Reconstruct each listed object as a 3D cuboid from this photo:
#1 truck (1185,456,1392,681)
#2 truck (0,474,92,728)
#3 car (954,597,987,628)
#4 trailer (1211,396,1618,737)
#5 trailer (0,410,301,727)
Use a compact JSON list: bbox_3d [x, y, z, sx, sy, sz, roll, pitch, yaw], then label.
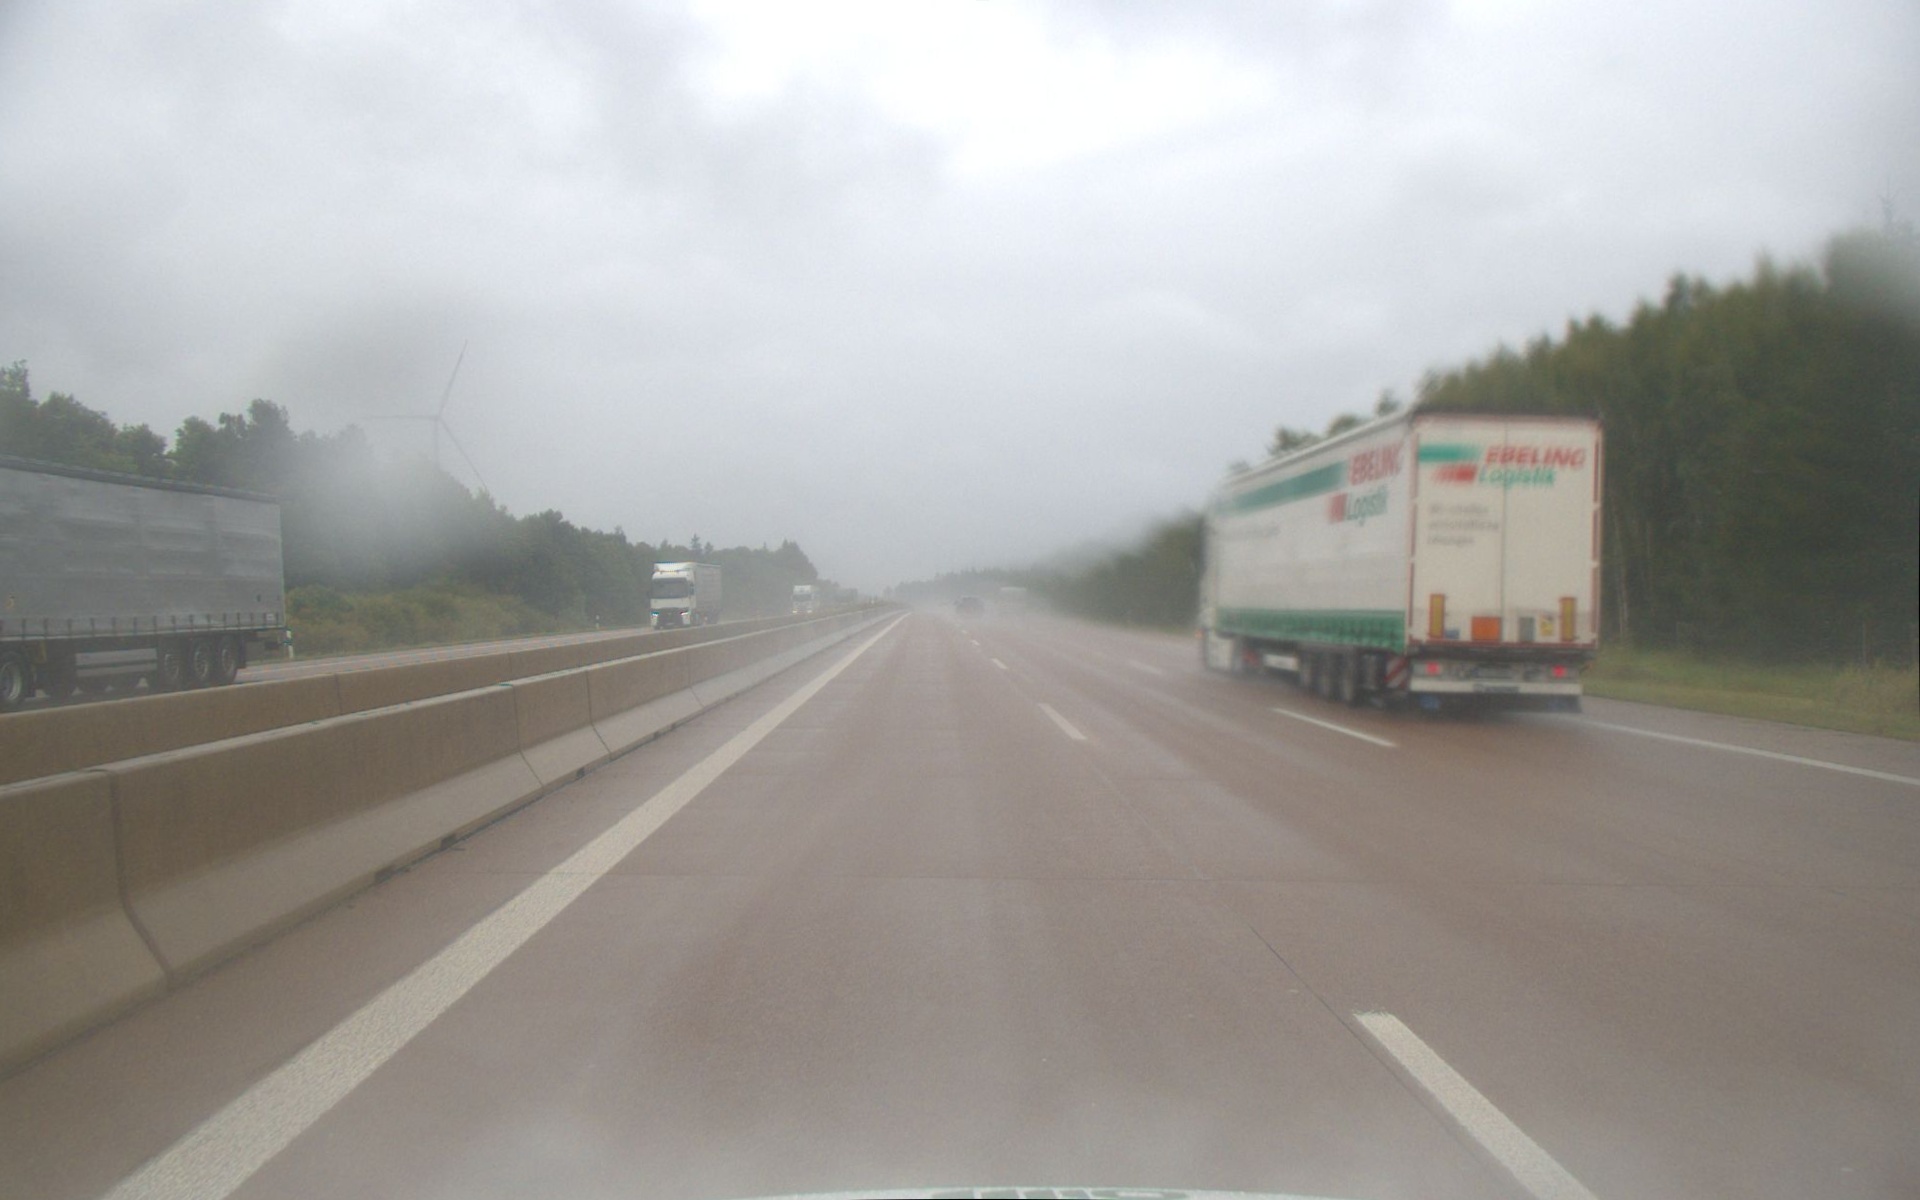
[{"bbox_3d":[6.627,-0.636,34.341,2.822,4.178,6.348,-1,1,-1],"label":"truck"},{"bbox_3d":[-16.631,-0.009,24.779,3.402,3.957,7.461,1,0,-2],"label":"truck"},{"bbox_3d":[0.689,0.839,113.521,2.129,2.016,4.129,-1,0,-1],"label":"car"},{"bbox_3d":[6.823,-0.507,27.719,2.795,4.305,13.128,-1,1,-2],"label":"trailer"},{"bbox_3d":[-16.796,-0.486,31.921,3.361,4.952,12.441,1,0,-1],"label":"trailer"}]
